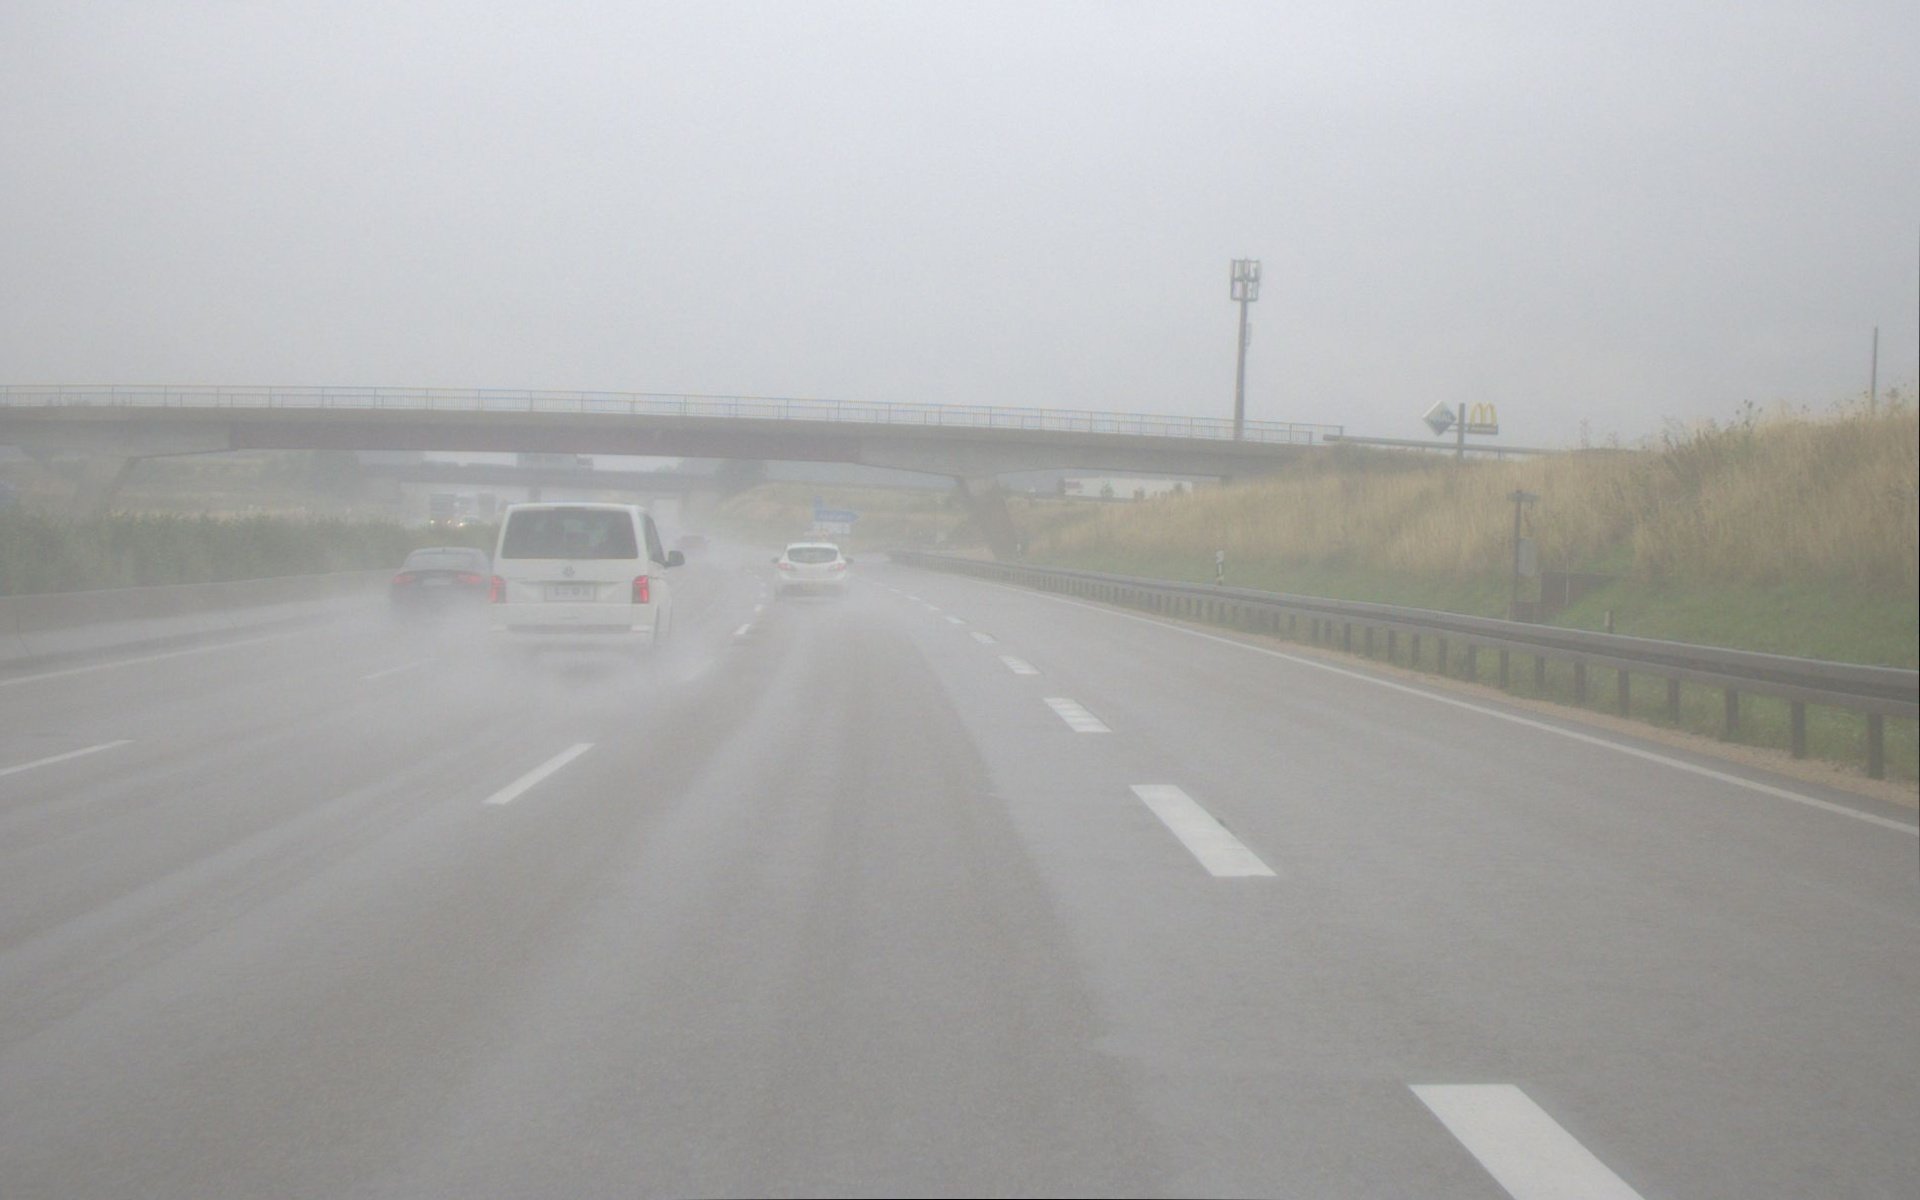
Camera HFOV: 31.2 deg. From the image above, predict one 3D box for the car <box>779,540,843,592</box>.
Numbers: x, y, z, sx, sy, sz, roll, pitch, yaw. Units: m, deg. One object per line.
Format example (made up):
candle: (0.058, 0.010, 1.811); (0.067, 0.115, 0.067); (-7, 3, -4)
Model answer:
car: (-3.578, -0.816, 82.013); (1.467, 1.204, 2.992); (0, 1, -3)

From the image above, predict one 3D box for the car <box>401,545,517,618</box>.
car: (-8.890, -0.345, 61.211); (1.468, 1.253, 3.340); (0, 1, 2)

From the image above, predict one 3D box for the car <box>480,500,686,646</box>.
car: (-4.337, -0.325, 40.084); (1.897, 1.580, 4.000); (1, 1, 1)
